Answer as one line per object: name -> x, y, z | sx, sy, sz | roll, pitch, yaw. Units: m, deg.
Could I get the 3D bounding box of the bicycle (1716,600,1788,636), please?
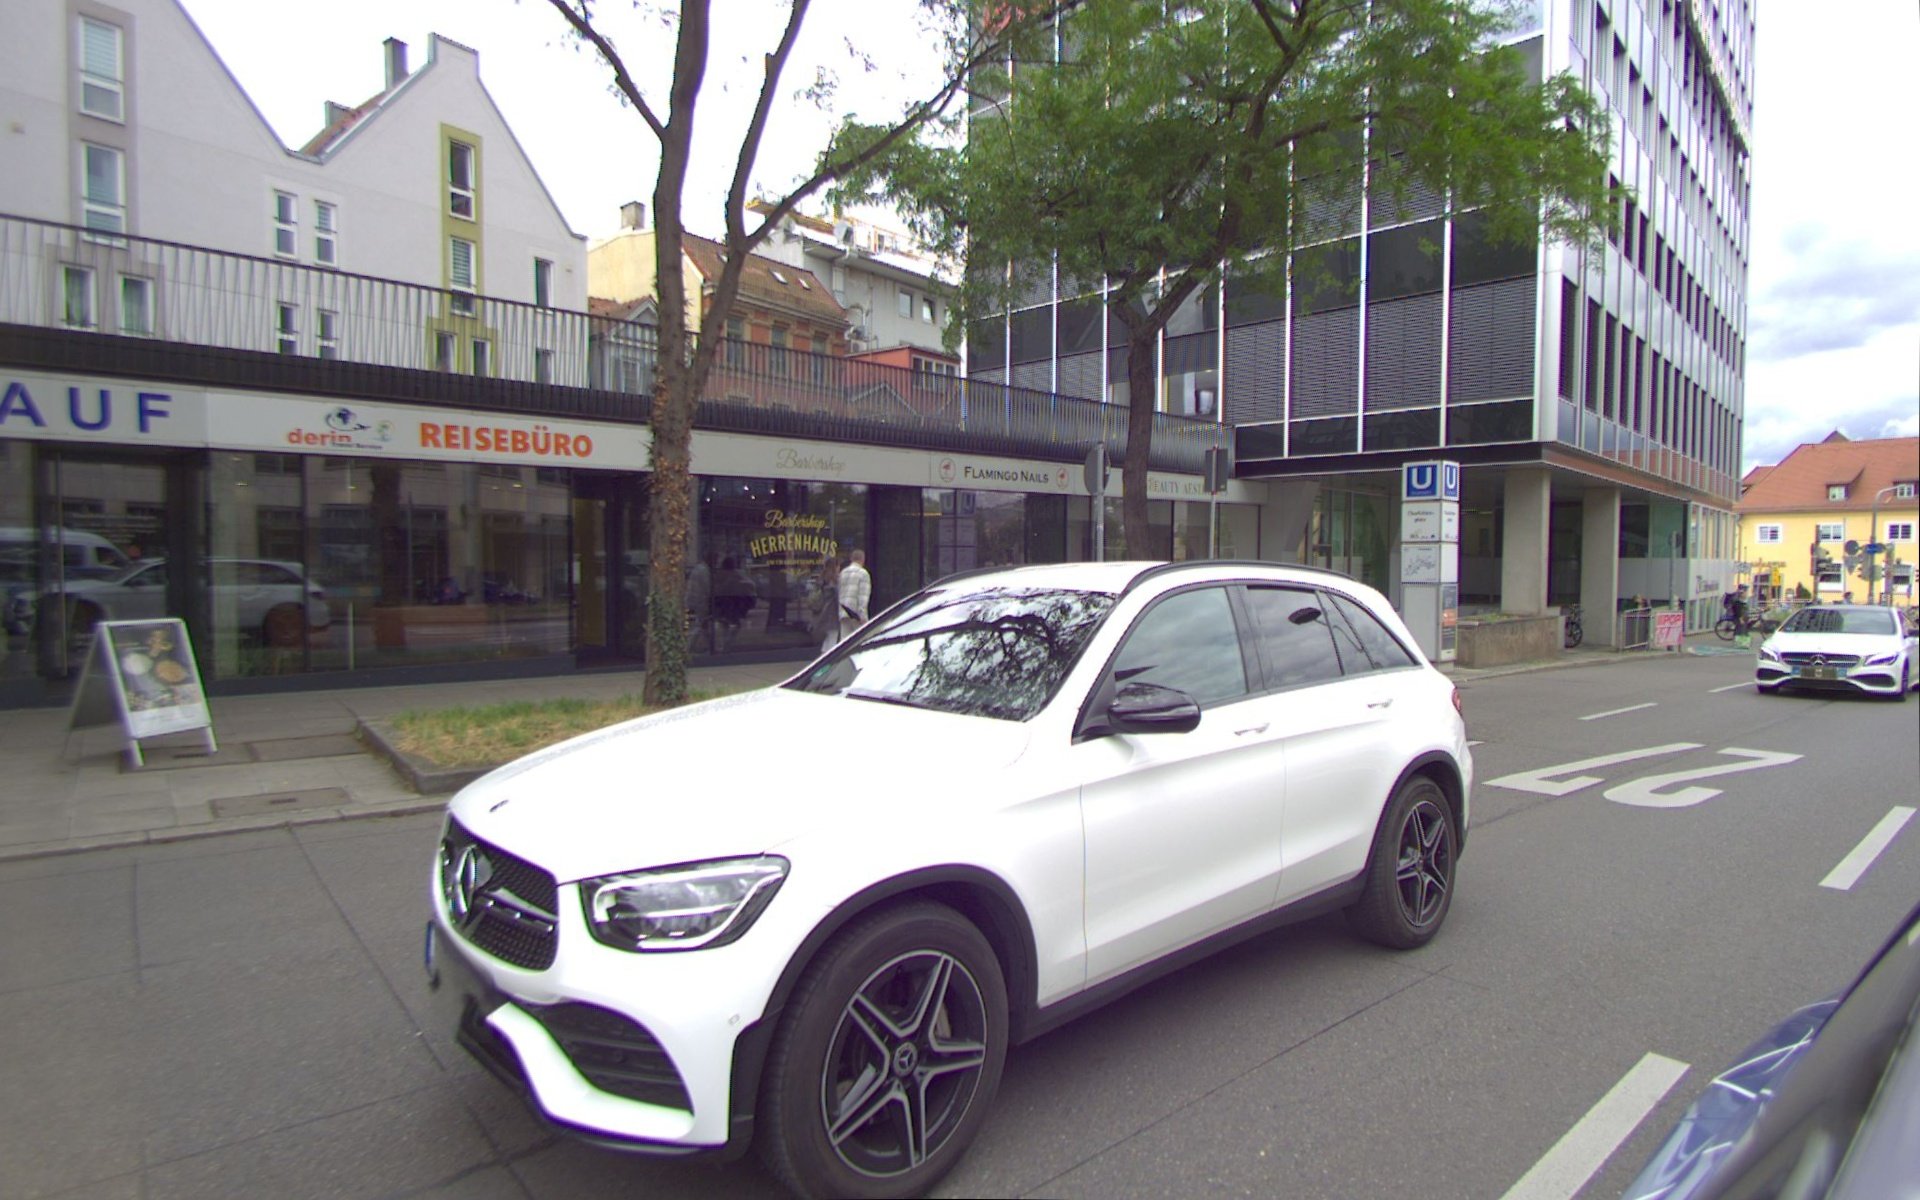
bicycle -> 26.000, 0.567, 33.258 | 0.666, 1.019, 1.772 | 3, 2, -15

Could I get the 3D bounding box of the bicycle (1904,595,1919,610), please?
bicycle -> 70.541, 0.203, 74.264 | 0.609, 1.099, 1.774 | 0, 2, -30

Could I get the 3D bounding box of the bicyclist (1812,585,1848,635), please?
bicyclist -> 28.353, 0.308, 32.994 | 0.559, 1.568, 0.841 | 2, 3, 21

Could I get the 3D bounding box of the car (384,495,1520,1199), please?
car -> 0.343, 0.568, 3.954 | 4.258, 1.666, 1.806 | -1, 3, -41

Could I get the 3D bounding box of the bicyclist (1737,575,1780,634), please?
bicyclist -> 26.091, 0.133, 33.076 | 0.661, 1.868, 0.816 | 1, 2, -16

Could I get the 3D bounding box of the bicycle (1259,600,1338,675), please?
bicycle -> 5.643, 0.586, 16.829 | 0.489, 1.146, 1.858 | 2, 2, 43

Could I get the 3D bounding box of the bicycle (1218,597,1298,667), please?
bicycle -> 5.204, 0.532, 17.627 | 1.658, 1.146, 0.490 | 0, 2, -40

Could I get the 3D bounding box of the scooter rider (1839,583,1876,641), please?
scooter rider -> 29.515, 0.387, 33.295 | 0.583, 1.830, 0.642 | 2, 2, 8

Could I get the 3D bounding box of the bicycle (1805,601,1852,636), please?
bicycle -> 28.373, 0.596, 33.074 | 0.574, 1.039, 1.659 | 2, 3, 20

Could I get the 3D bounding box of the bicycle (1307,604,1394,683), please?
bicycle -> 6.203, 0.662, 16.025 | 1.812, 1.146, 0.490 | 0, 2, -42

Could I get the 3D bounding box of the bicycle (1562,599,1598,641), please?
bicycle -> 16.589, 0.514, 27.100 | 0.708, 1.061, 1.471 | 2, 1, 29

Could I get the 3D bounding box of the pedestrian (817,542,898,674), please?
pedestrian -> -1.429, 0.096, 14.152 | 0.596, 1.775, 0.926 | 3, 2, 44

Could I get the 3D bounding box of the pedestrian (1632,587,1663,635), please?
pedestrian -> 21.296, 0.328, 31.347 | 0.825, 1.460, 0.604 | 0, 3, -45

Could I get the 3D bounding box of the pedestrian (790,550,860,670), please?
pedestrian -> -1.934, 0.125, 14.488 | 0.596, 1.649, 0.745 | 3, 2, 44

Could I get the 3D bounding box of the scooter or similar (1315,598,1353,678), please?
scooter or similar -> 6.181, 0.605, 16.699 | 0.305, 1.267, 0.984 | 2, 2, 36

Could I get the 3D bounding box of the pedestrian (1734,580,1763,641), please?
pedestrian -> 23.351, 0.304, 29.959 | 0.525, 1.732, 0.741 | 4, 5, 44

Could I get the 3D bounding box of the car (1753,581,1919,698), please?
car -> 14.494, 0.527, 16.264 | 4.570, 1.588, 1.869 | 0, 2, -41
